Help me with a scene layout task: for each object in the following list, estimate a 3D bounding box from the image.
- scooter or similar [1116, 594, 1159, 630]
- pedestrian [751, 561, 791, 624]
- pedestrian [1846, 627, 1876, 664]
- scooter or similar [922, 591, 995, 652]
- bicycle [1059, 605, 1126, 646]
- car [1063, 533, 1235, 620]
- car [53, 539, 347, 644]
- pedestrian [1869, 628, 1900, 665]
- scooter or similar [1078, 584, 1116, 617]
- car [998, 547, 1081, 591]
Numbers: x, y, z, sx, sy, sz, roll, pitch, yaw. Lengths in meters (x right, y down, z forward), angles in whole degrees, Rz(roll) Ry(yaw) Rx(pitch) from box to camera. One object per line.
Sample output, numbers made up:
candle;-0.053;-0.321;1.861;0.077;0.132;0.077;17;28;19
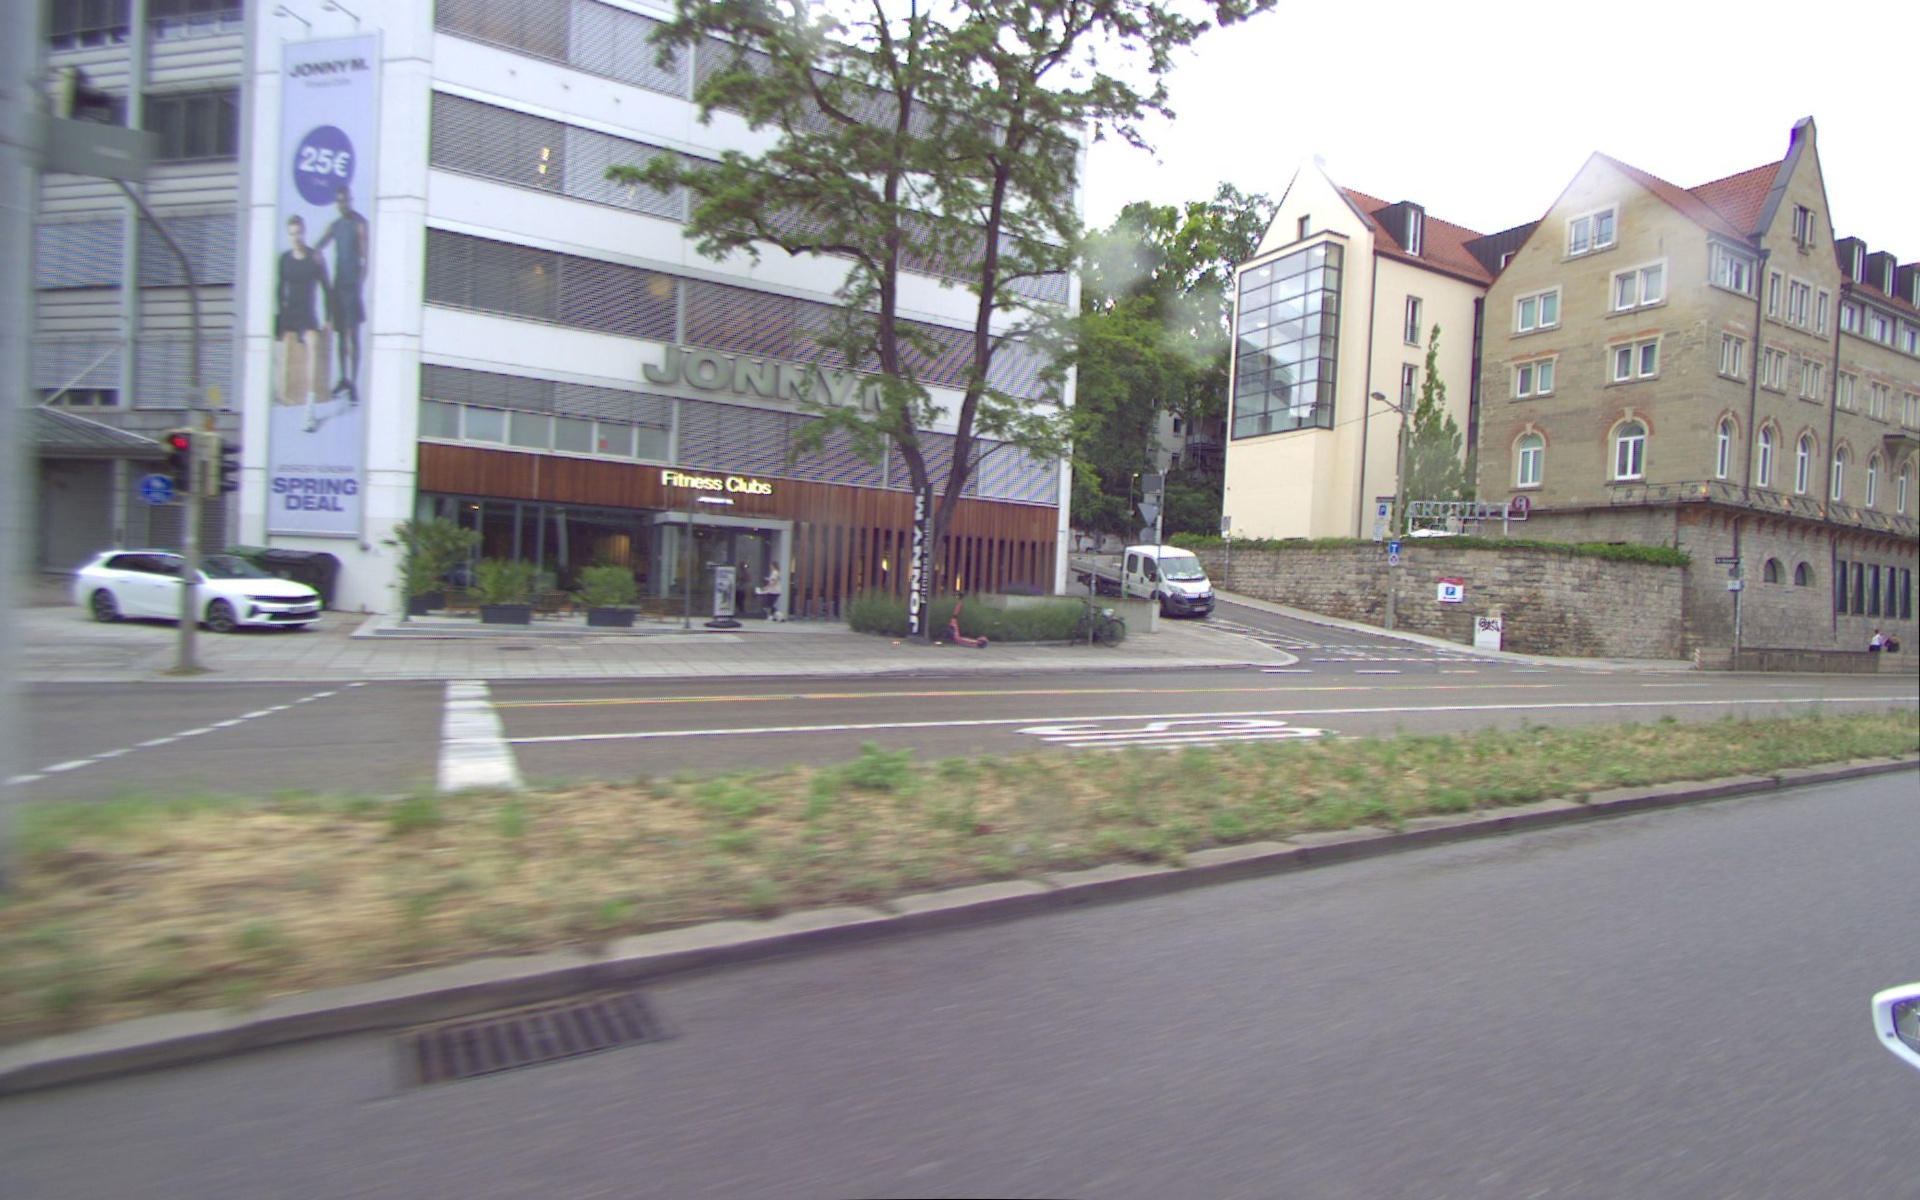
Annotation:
scooter or similar;5.468;0.364;31.025;0.438;0.934;1.462;1;6;-29
pedestrian;-5.044;-0.188;26.797;0.831;1.663;0.765;1;0;-28
pedestrian;38.065;1.917;42.452;0.705;1.497;0.751;1;0;-28
scooter or similar;-0.053;0.489;23.510;1.726;1.263;0.369;6;3;34
bicycle;3.403;0.650;25.814;1.736;1.004;0.455;2;1;-28
car;6.637;-0.991;36.538;2.481;2.308;6.876;-2;9;-26
car;-15.089;-0.214;20.044;4.745;1.676;2.001;4;2;11
pedestrian;38.437;1.912;41.763;0.705;1.497;0.751;1;0;-28
scooter or similar;4.539;0.012;33.376;0.438;0.934;1.462;1;6;-29
car;3.398;-1.326;43.630;1.972;1.807;3.976;0;2;-24
